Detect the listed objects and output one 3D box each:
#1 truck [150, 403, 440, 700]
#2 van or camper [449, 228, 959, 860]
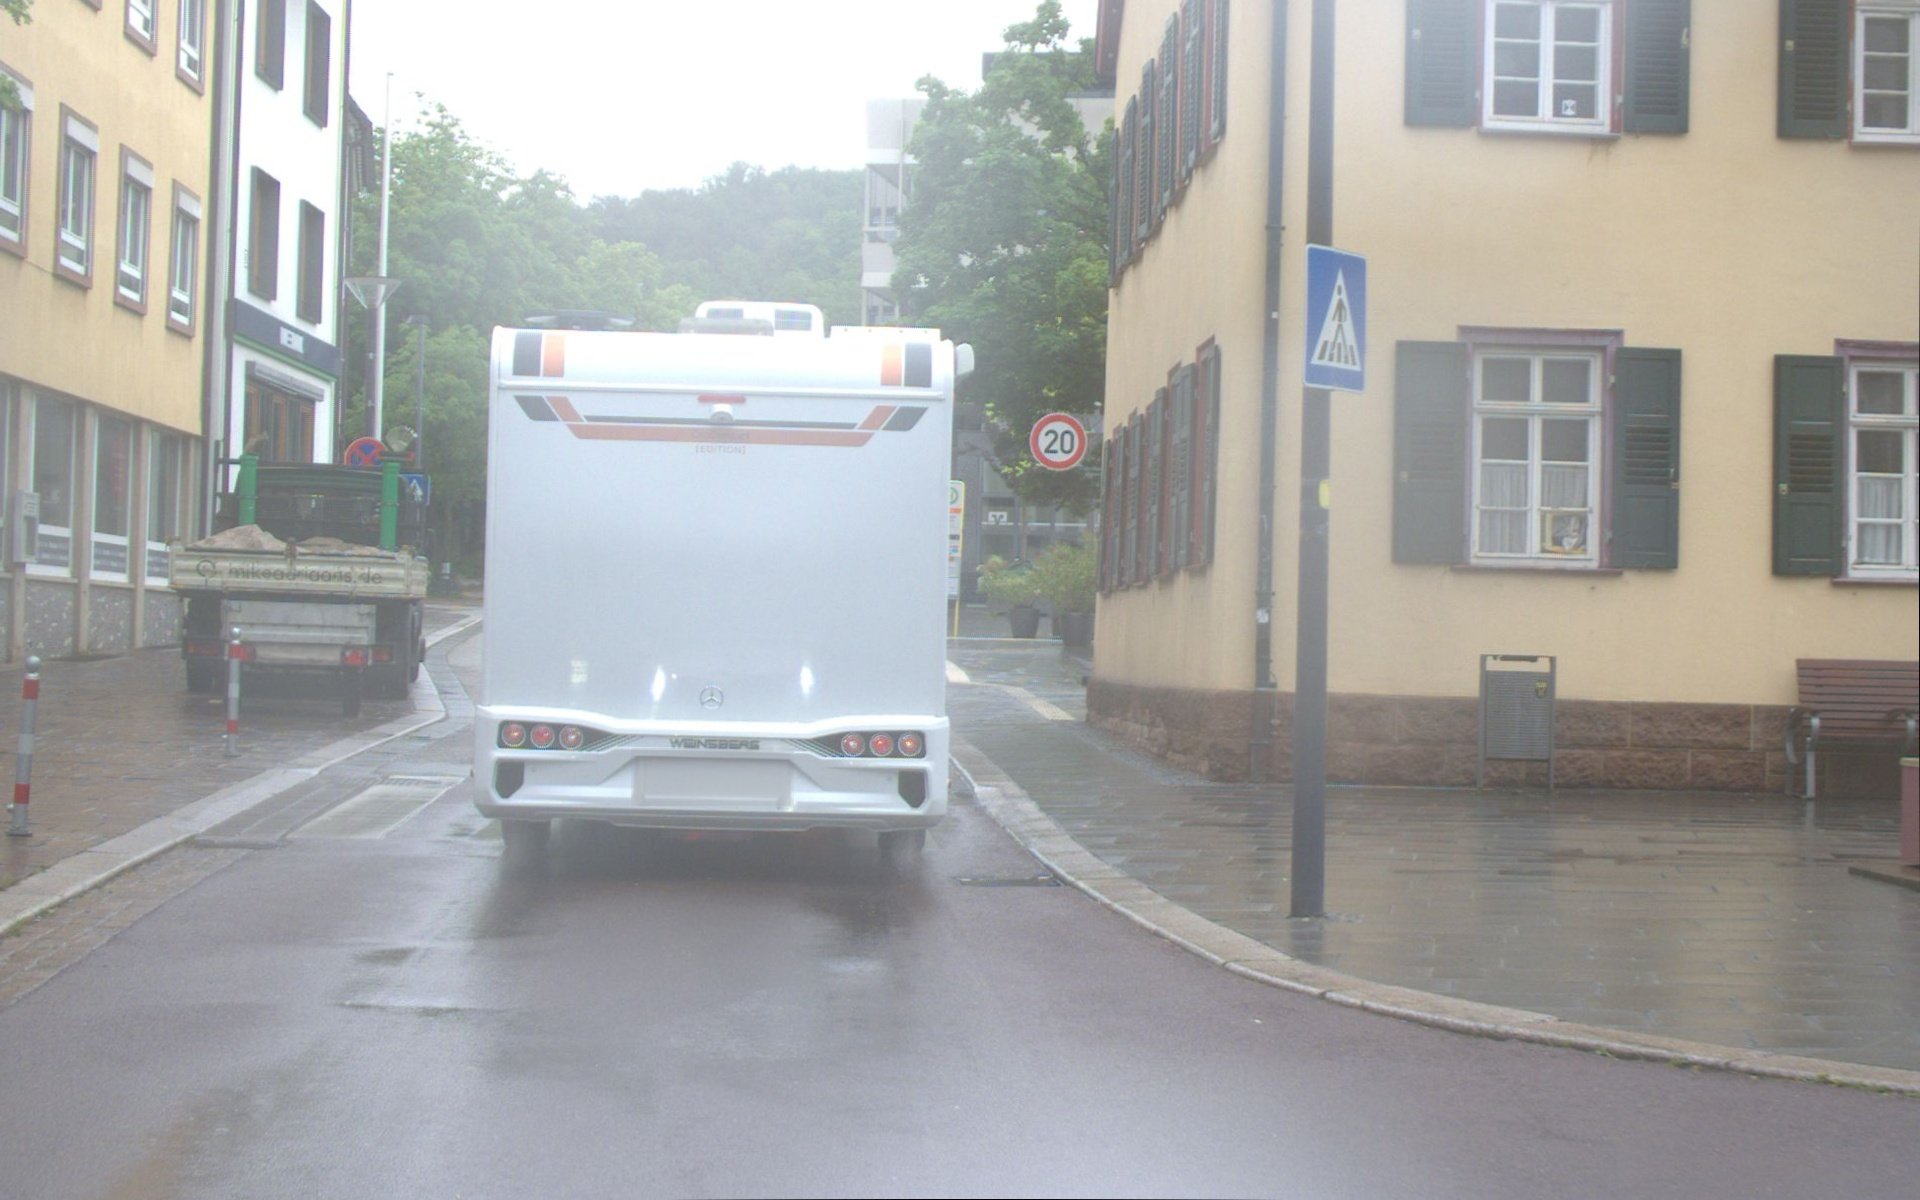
[{"bbox_3d":[-6.661,-0.407,35.081,2.280,2.748,5.569,1,-1,-5],"label":"truck"},{"bbox_3d":[-1.491,-0.198,19.250,2.325,2.909,6.394,1,-1,-5],"label":"van or camper"}]
